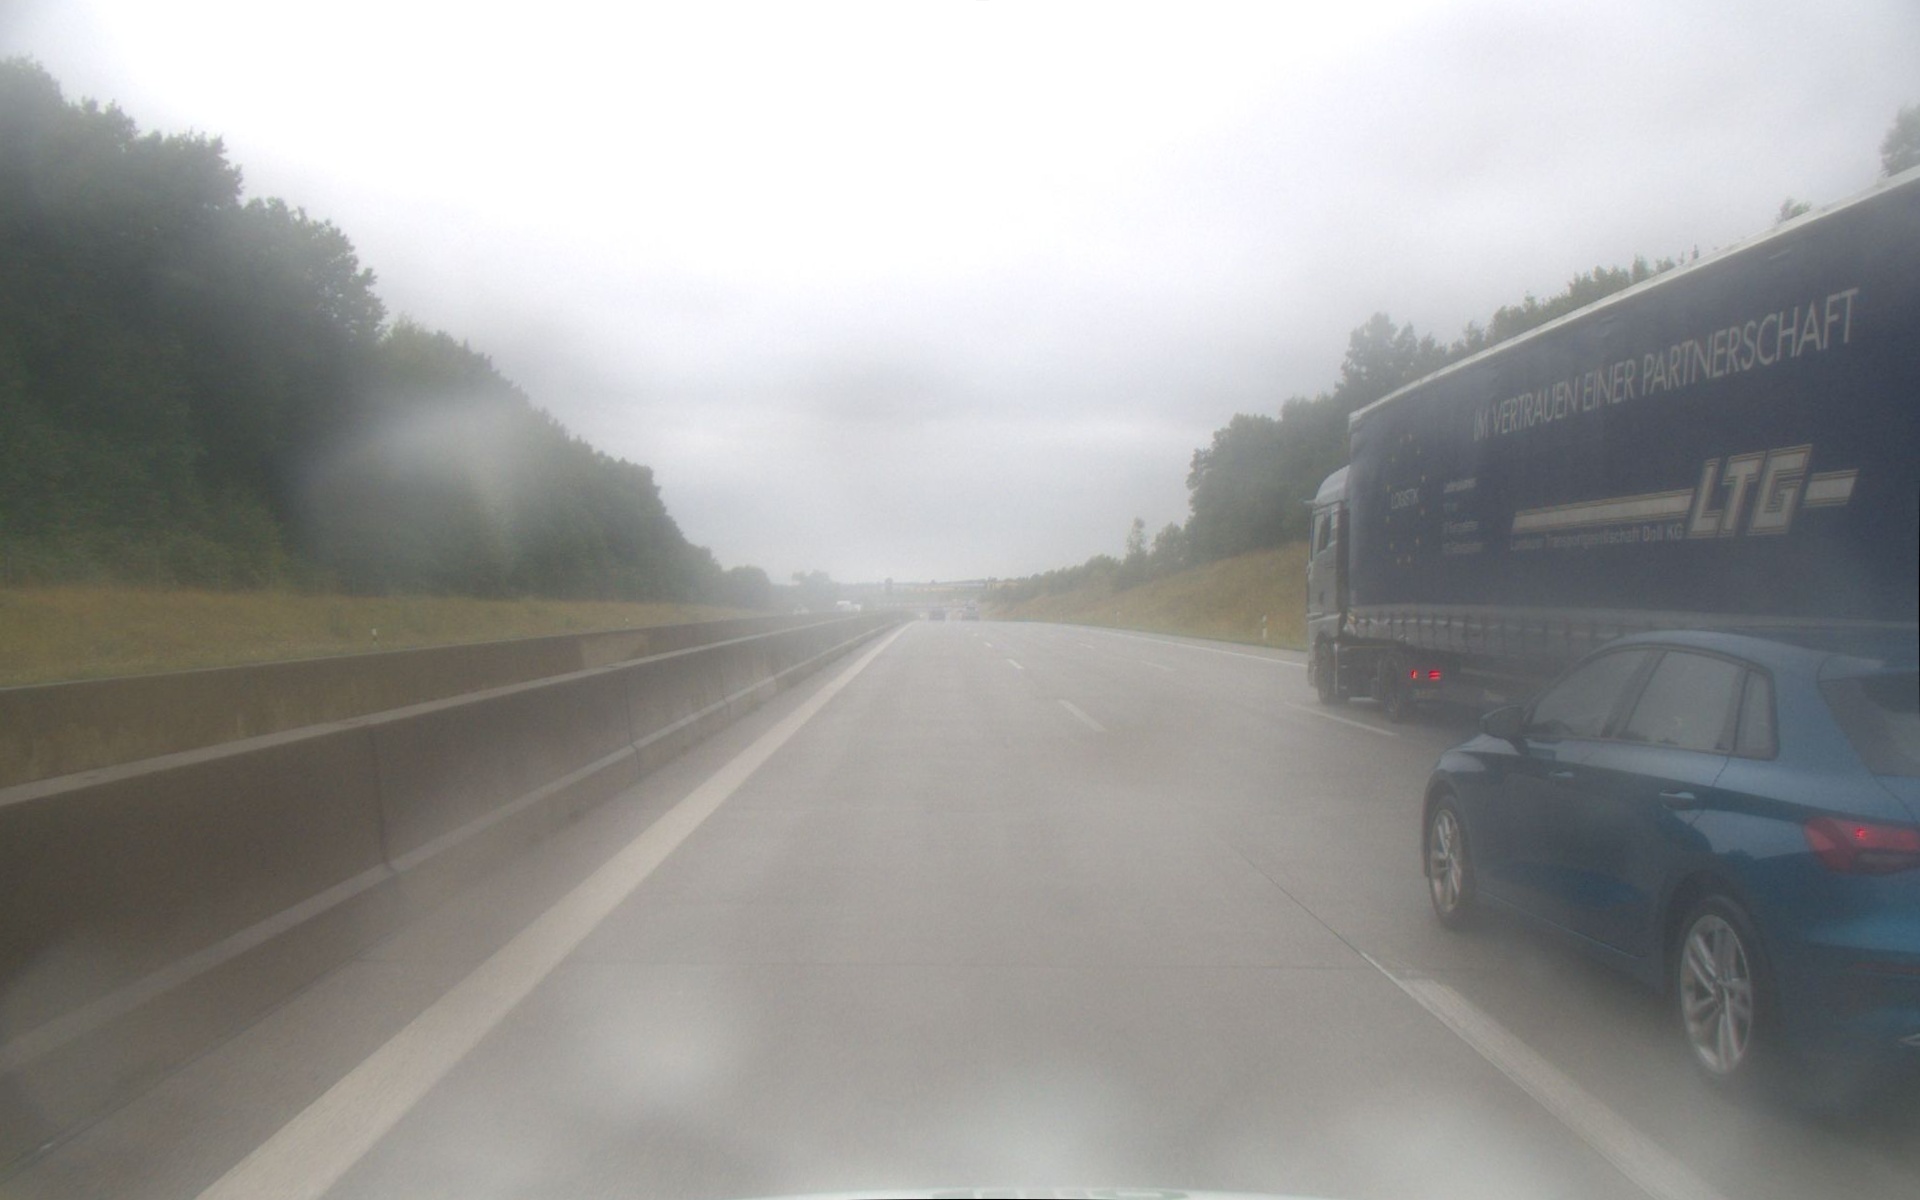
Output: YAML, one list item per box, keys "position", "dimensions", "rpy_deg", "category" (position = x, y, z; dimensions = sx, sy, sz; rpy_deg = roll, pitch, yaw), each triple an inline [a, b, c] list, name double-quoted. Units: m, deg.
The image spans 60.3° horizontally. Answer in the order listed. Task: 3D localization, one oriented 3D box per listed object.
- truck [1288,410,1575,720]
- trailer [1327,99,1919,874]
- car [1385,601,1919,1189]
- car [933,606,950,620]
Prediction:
- position: [6.730, -0.464, 24.469]
  dimensions: [2.582, 4.023, 5.685]
  rpy_deg: [1, 0, 0]
  category: "truck"
- position: [6.784, -0.644, 16.652]
  dimensions: [2.651, 4.456, 15.202]
  rpy_deg: [1, 0, 0]
  category: "trailer"
- position: [3.169, 0.765, 6.549]
  dimensions: [1.694, 1.484, 4.671]
  rpy_deg: [-1, -1, -1]
  category: "car"
- position: [-1.894, 1.358, 169.281]
  dimensions: [1.694, 1.354, 4.429]
  rpy_deg: [0, 1, -1]
  category: "car"
